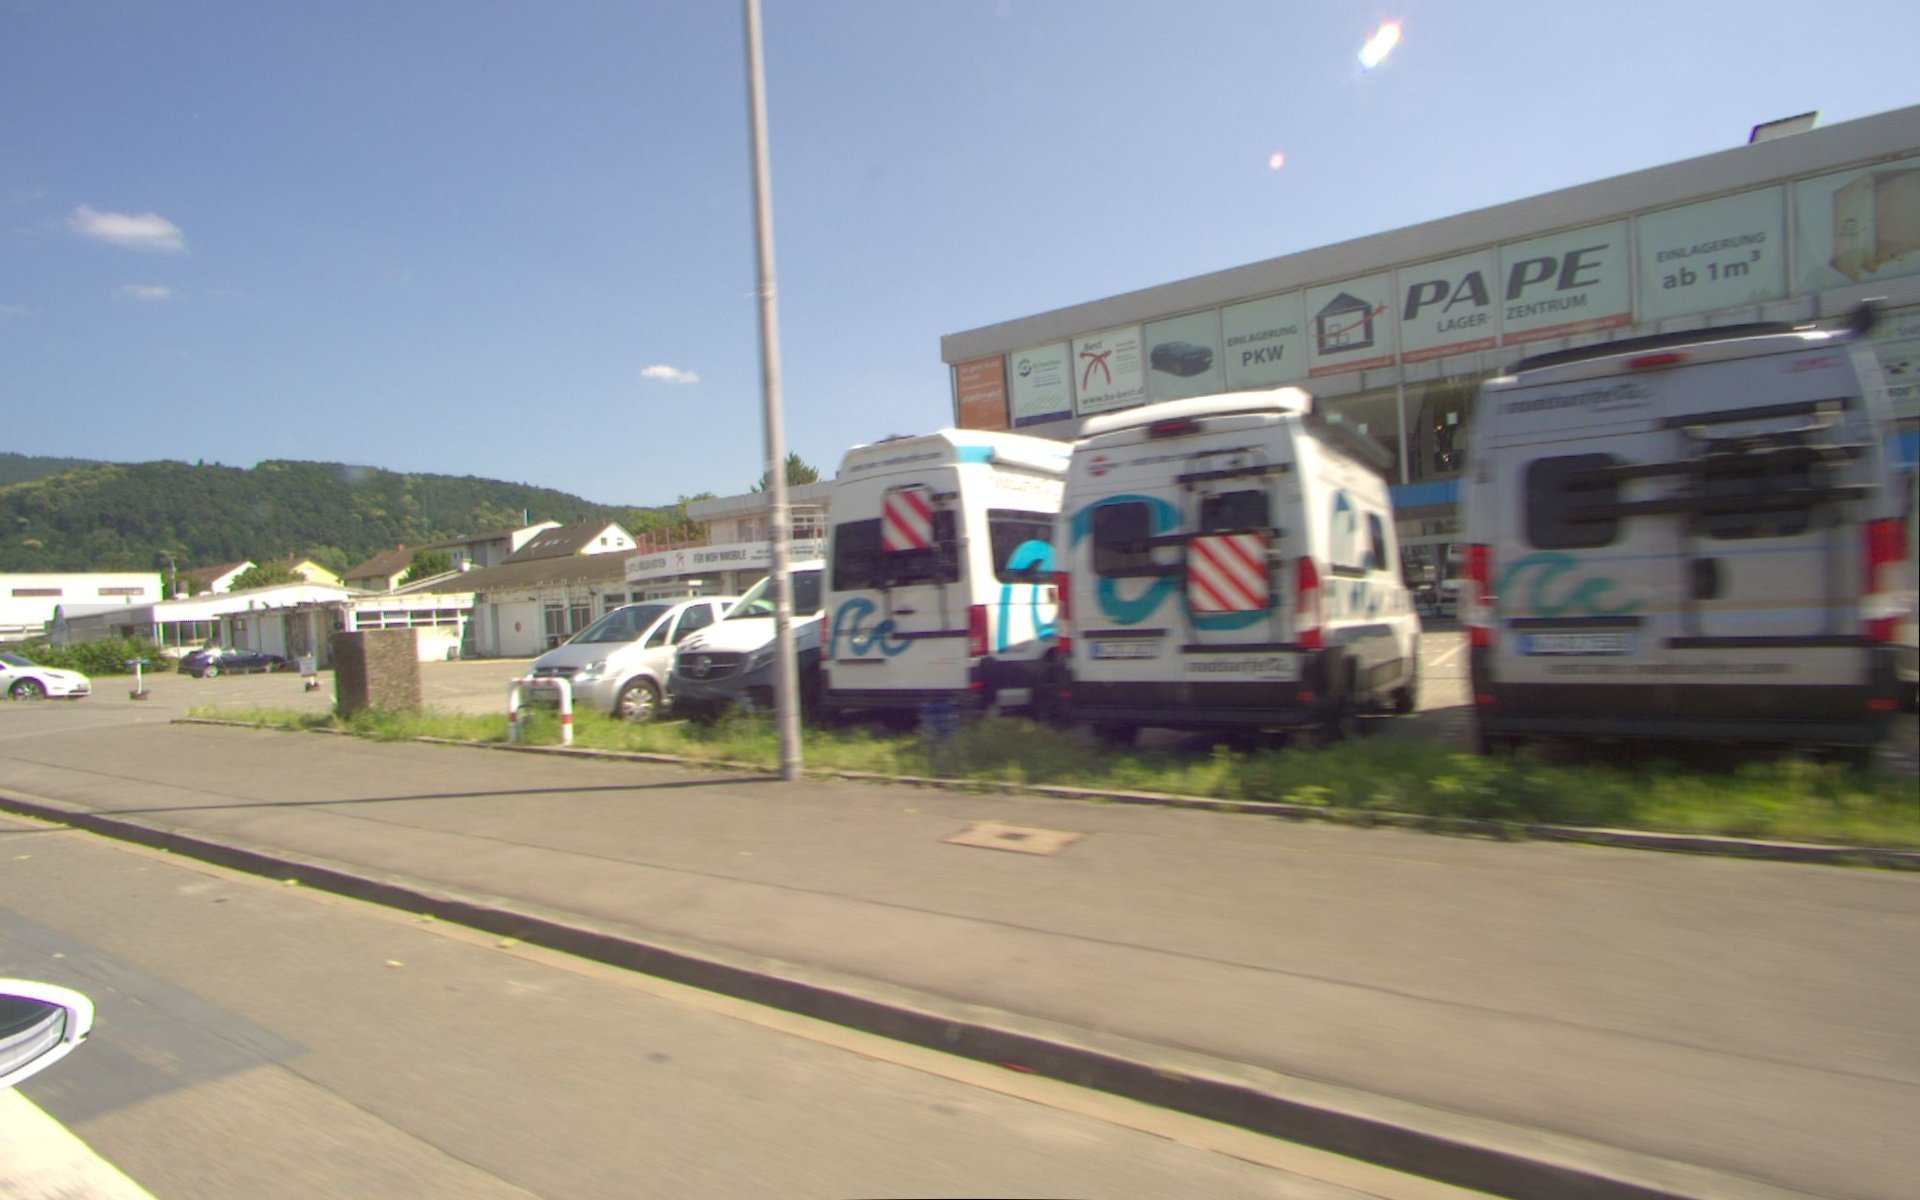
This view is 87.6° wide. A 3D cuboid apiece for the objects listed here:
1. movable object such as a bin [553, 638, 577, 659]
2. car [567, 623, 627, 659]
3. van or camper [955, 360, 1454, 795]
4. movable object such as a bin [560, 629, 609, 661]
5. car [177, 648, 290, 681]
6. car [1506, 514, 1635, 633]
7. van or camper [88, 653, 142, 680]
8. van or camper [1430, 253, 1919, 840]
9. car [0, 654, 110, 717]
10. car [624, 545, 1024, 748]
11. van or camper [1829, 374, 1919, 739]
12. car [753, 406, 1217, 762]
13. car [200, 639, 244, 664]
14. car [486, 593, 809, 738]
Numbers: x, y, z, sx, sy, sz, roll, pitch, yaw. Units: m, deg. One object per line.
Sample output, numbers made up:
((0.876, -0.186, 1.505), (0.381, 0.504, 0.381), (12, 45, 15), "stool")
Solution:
((-20.575, 2.538, 52.177), (0.863, 1.049, 0.745), (-2, 0, 29), "movable object such as a bin")
((-14.434, 1.672, 40.046), (1.861, 1.306, 4.551), (-1, -3, -15), "car")
((2.848, -0.142, 9.700), (2.675, 2.735, 6.332), (-3, 0, 33), "van or camper")
((-18.916, 2.268, 50.443), (1.729, 1.474, 1.568), (-2, -1, 29), "movable object such as a bin")
((-37.581, 3.313, 51.858), (2.093, 1.416, 4.313), (-3, -1, 37), "car")
((14.578, -0.585, 23.868), (2.294, 2.451, 5.283), (-2, 0, 33), "car")
((-59.328, 4.653, 70.356), (1.970, 1.563, 4.210), (-7, 1, -30), "van or camper")
((5.624, -0.272, 7.771), (2.675, 2.752, 6.332), (-3, 0, 33), "van or camper")
((-28.061, 2.545, 28.918), (4.955, 1.639, 2.025), (-2, -6, -14), "car")
((-1.363, 0.408, 12.516), (1.972, 1.978, 5.220), (-2, 1, 33), "car")
((7.861, -0.335, 6.383), (2.583, 2.557, 6.179), (-3, 0, 33), "van or camper")
((0.742, -0.139, 11.419), (2.288, 2.907, 6.211), (-2, 0, 33), "car")
((-55.623, 3.854, 75.531), (1.970, 1.669, 3.983), (-1, -1, -27), "car")
((-4.040, 0.771, 13.546), (1.773, 1.614, 3.912), (-2, 0, 33), "car")
